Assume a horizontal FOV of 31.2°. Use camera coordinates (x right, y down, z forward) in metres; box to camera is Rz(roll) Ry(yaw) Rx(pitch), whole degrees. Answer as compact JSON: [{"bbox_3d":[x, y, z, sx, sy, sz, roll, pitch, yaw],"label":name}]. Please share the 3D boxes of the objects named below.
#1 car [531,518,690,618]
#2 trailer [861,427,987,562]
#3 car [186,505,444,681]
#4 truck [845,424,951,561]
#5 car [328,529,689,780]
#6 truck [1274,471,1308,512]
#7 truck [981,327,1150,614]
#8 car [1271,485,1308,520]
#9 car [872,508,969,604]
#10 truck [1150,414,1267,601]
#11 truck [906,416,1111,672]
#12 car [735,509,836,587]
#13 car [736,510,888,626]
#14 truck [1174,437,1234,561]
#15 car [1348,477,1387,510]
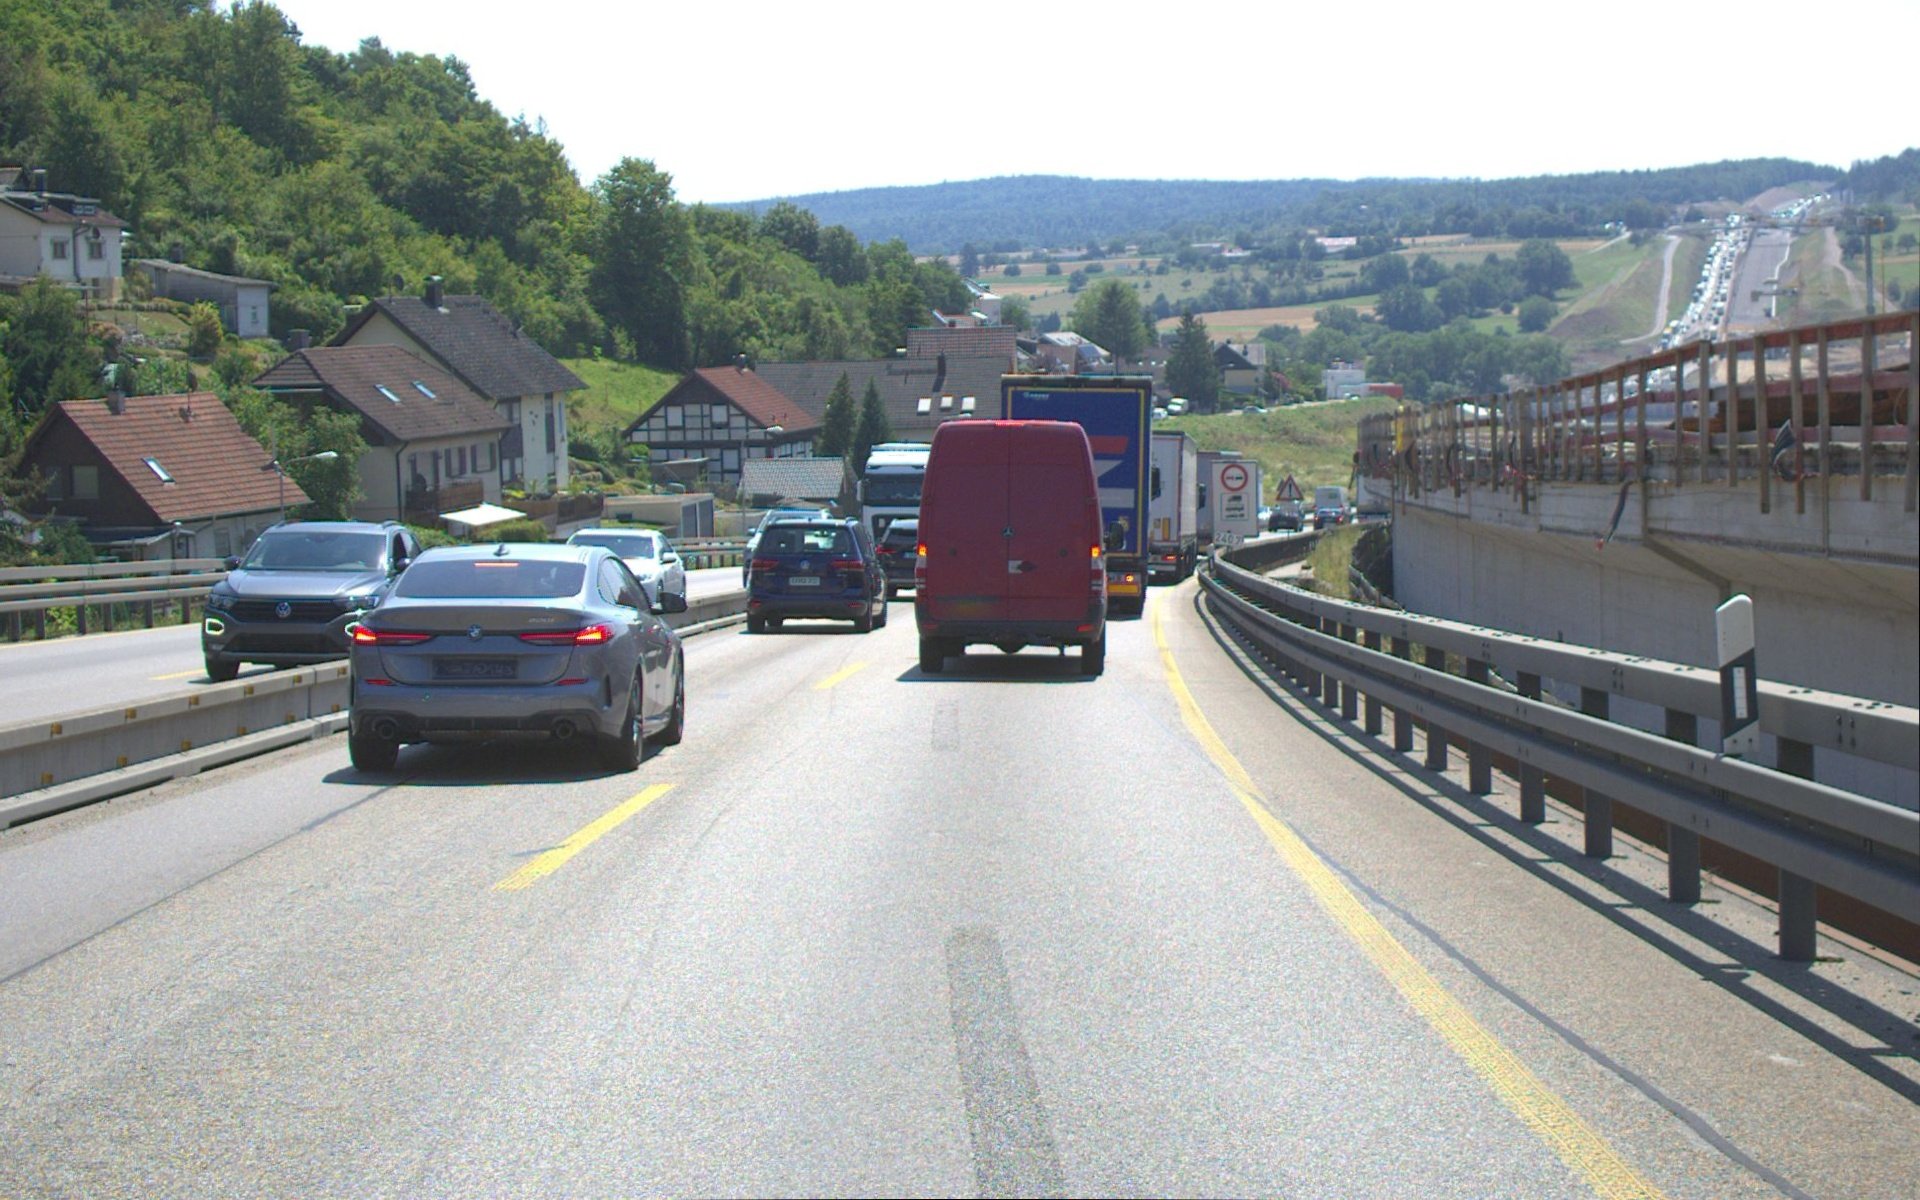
[{"bbox_3d":[-5.460,-0.537,54.230,1.912,1.481,4.477,1,1,2],"label":"car"},{"bbox_3d":[-1.254,-3.905,131.841,3.065,4.799,13.998,1,1,6],"label":"trailer"},{"bbox_3d":[-6.395,-0.112,34.487,1.739,1.636,4.001,1,1,1],"label":"car"},{"bbox_3d":[-2.206,-3.849,124.108,3.062,4.805,4.644,1,0,8],"label":"truck"},{"bbox_3d":[-2.849,0.283,22.504,1.794,1.480,4.050,0,1,0],"label":"car"},{"bbox_3d":[13.337,-4.359,138.395,1.314,1.537,3.151,1,0,6],"label":"truck"},{"bbox_3d":[1.964,-2.235,62.875,2.786,4.799,9.684,1,0,2],"label":"truck"},{"bbox_3d":[20.038,-5.924,209.002,1.804,2.006,3.998,2,2,12],"label":"car"},{"bbox_3d":[-0.761,-0.870,68.844,1.729,1.832,4.000,1,0,2],"label":"car"},{"bbox_3d":[6.728,-2.440,94.111,2.786,4.799,9.684,1,0,2],"label":"truck"},{"bbox_3d":[0.578,-0.584,36.936,1.994,2.570,4.000,1,0,3],"label":"truck"},{"bbox_3d":[-3.958,-1.203,78.564,1.912,1.699,4.736,1,1,2],"label":"car"},{"bbox_3d":[-2.113,-0.464,50.103,1.810,1.602,3.718,1,0,4],"label":"car"},{"bbox_3d":[8.803,-3.592,123.554,1.994,4.366,3.999,1,0,5],"label":"truck"},{"bbox_3d":[26.488,-6.893,223.493,2.132,2.007,3.998,1,0,12],"label":"car"}]
